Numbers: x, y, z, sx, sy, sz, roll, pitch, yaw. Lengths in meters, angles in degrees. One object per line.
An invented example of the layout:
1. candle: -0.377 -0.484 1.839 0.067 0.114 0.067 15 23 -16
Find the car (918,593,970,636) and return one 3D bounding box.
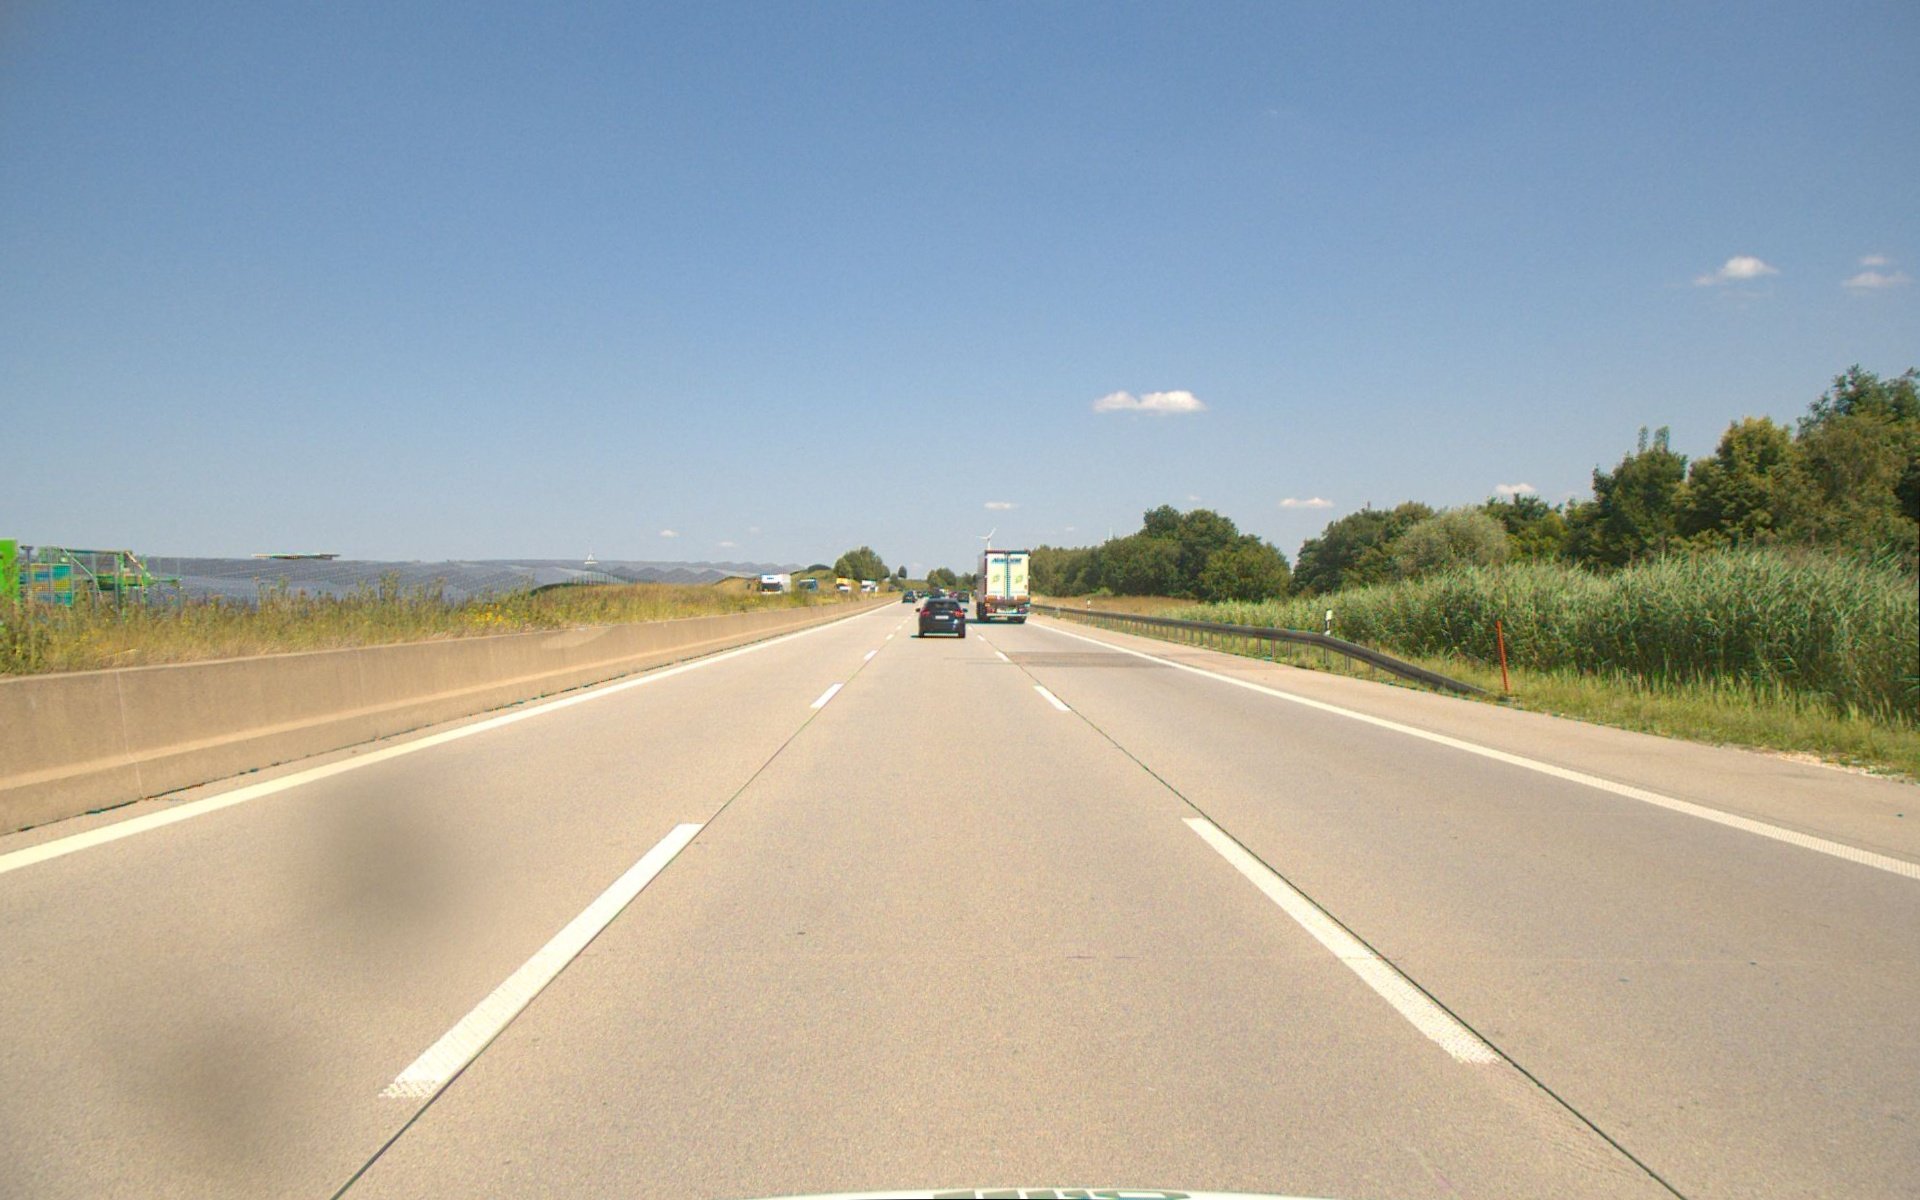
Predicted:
1. car: -0.634 0.513 62.016 1.872 1.518 4.190 2 0 -1

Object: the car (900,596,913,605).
1. car: -7.317 0.069 227.783 1.622 1.217 3.959 4 0 -1

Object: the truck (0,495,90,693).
1. truck: -20.858 -0.144 34.830 2.689 4.020 4.352 1 0 -1

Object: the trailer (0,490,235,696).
1. trailer: -20.858 -0.170 39.454 2.677 4.264 10.255 1 0 -1

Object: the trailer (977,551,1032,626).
1. trailer: 2.526 -0.615 98.256 2.794 4.113 12.712 1 0 0

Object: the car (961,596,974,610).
1. car: 1.030 0.411 237.804 1.789 1.940 4.000 1 0 1
